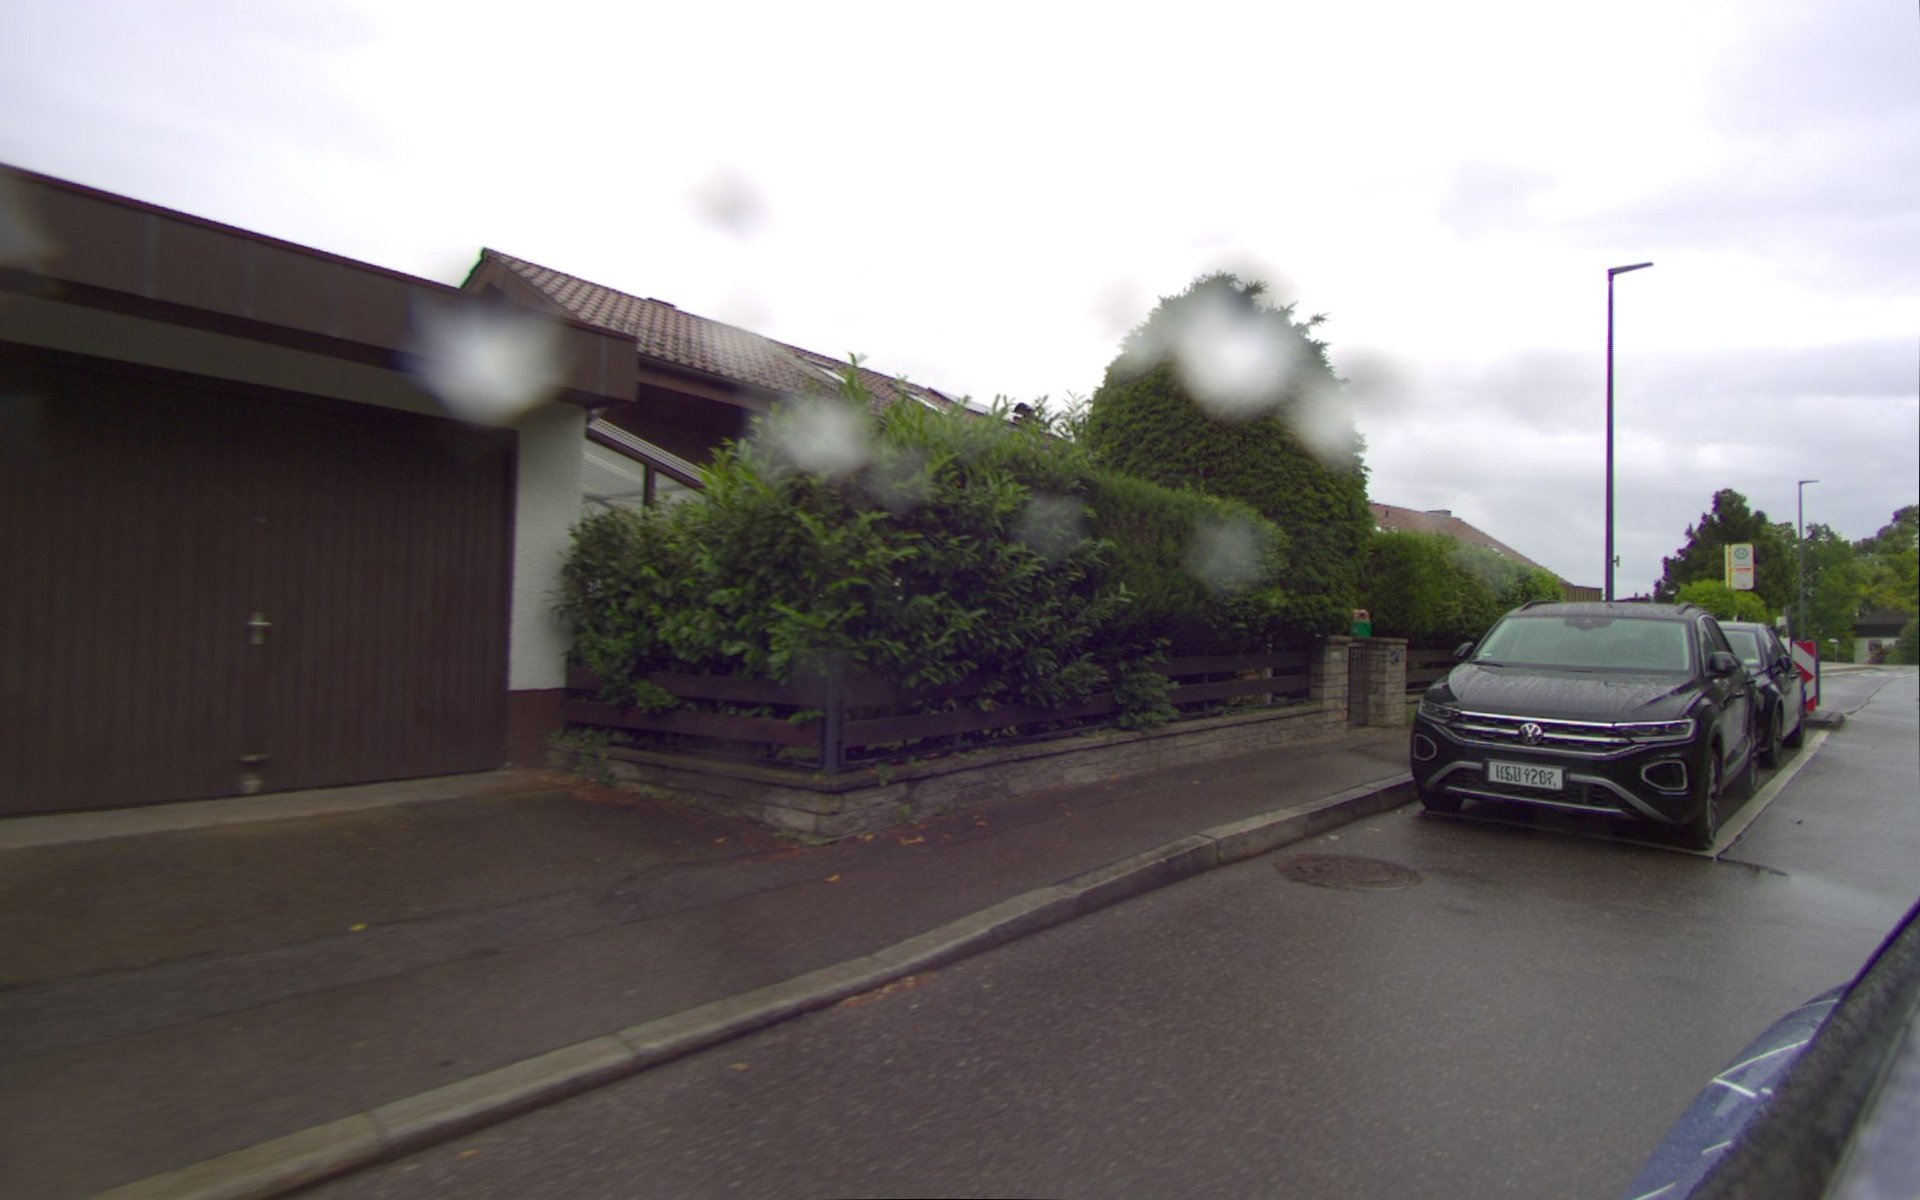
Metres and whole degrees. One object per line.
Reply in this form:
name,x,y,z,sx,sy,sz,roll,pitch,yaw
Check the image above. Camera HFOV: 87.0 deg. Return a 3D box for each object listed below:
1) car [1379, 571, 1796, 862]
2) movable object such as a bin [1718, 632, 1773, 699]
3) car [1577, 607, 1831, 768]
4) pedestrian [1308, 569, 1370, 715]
car,5.073,0.686,7.870,1.875,1.612,4.407,0,-1,44
movable object such as a bin,13.526,1.107,17.421,0.714,1.110,0.647,-1,-2,41
car,8.534,0.858,11.458,1.756,1.481,4.231,-1,-2,44
pedestrian,4.428,0.480,11.816,0.535,1.654,0.498,-1,-2,43
